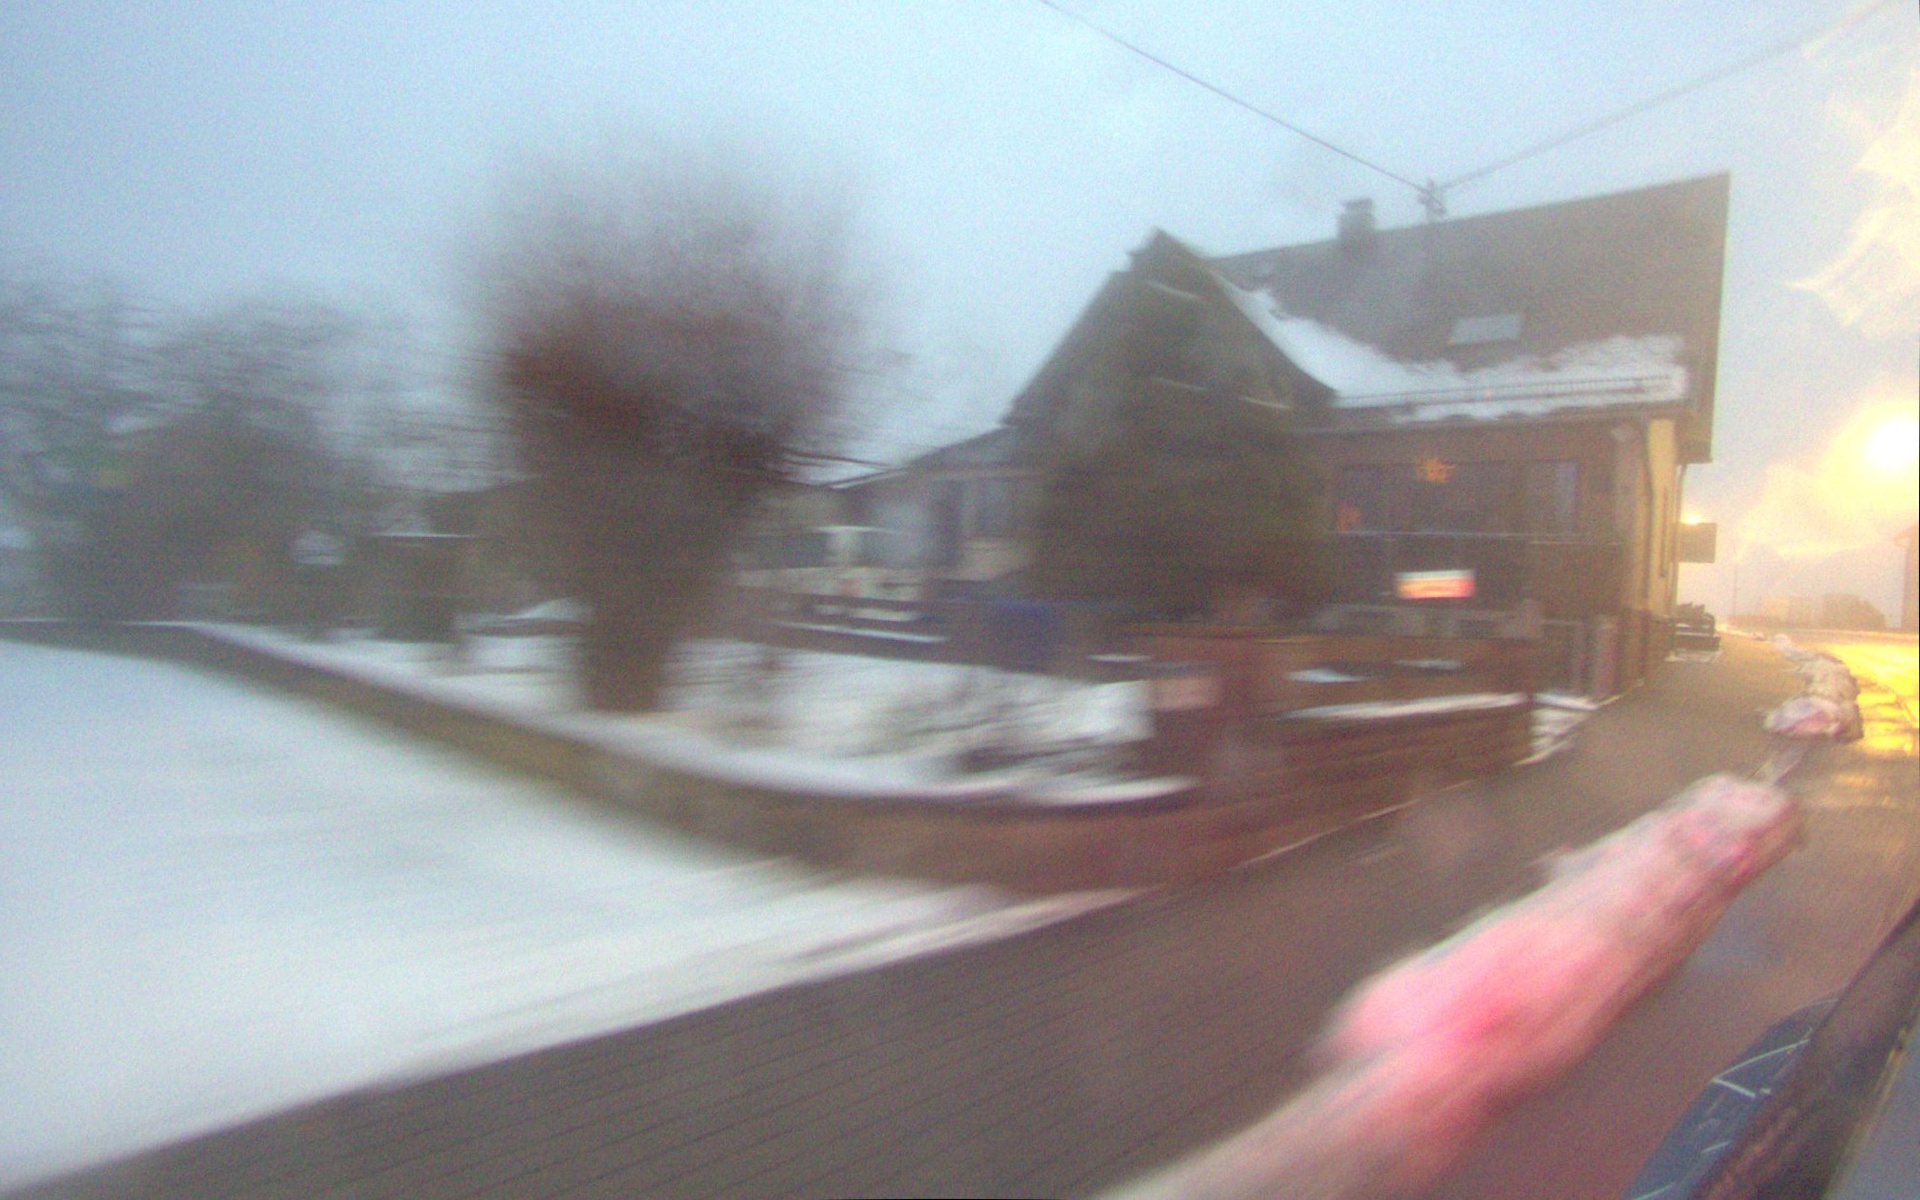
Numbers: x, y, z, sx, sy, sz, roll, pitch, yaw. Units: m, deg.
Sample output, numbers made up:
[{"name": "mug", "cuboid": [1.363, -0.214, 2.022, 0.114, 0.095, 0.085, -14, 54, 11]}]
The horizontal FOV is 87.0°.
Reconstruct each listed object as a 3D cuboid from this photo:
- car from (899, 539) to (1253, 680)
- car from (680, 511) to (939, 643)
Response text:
[{"name": "car", "cuboid": [1.464, 0.076, 13.720, 4.440, 1.607, 1.972, 0, 1, 40]}, {"name": "car", "cuboid": [-2.639, -0.374, 17.219, 4.364, 1.950, 1.972, 0, 1, 40]}]
